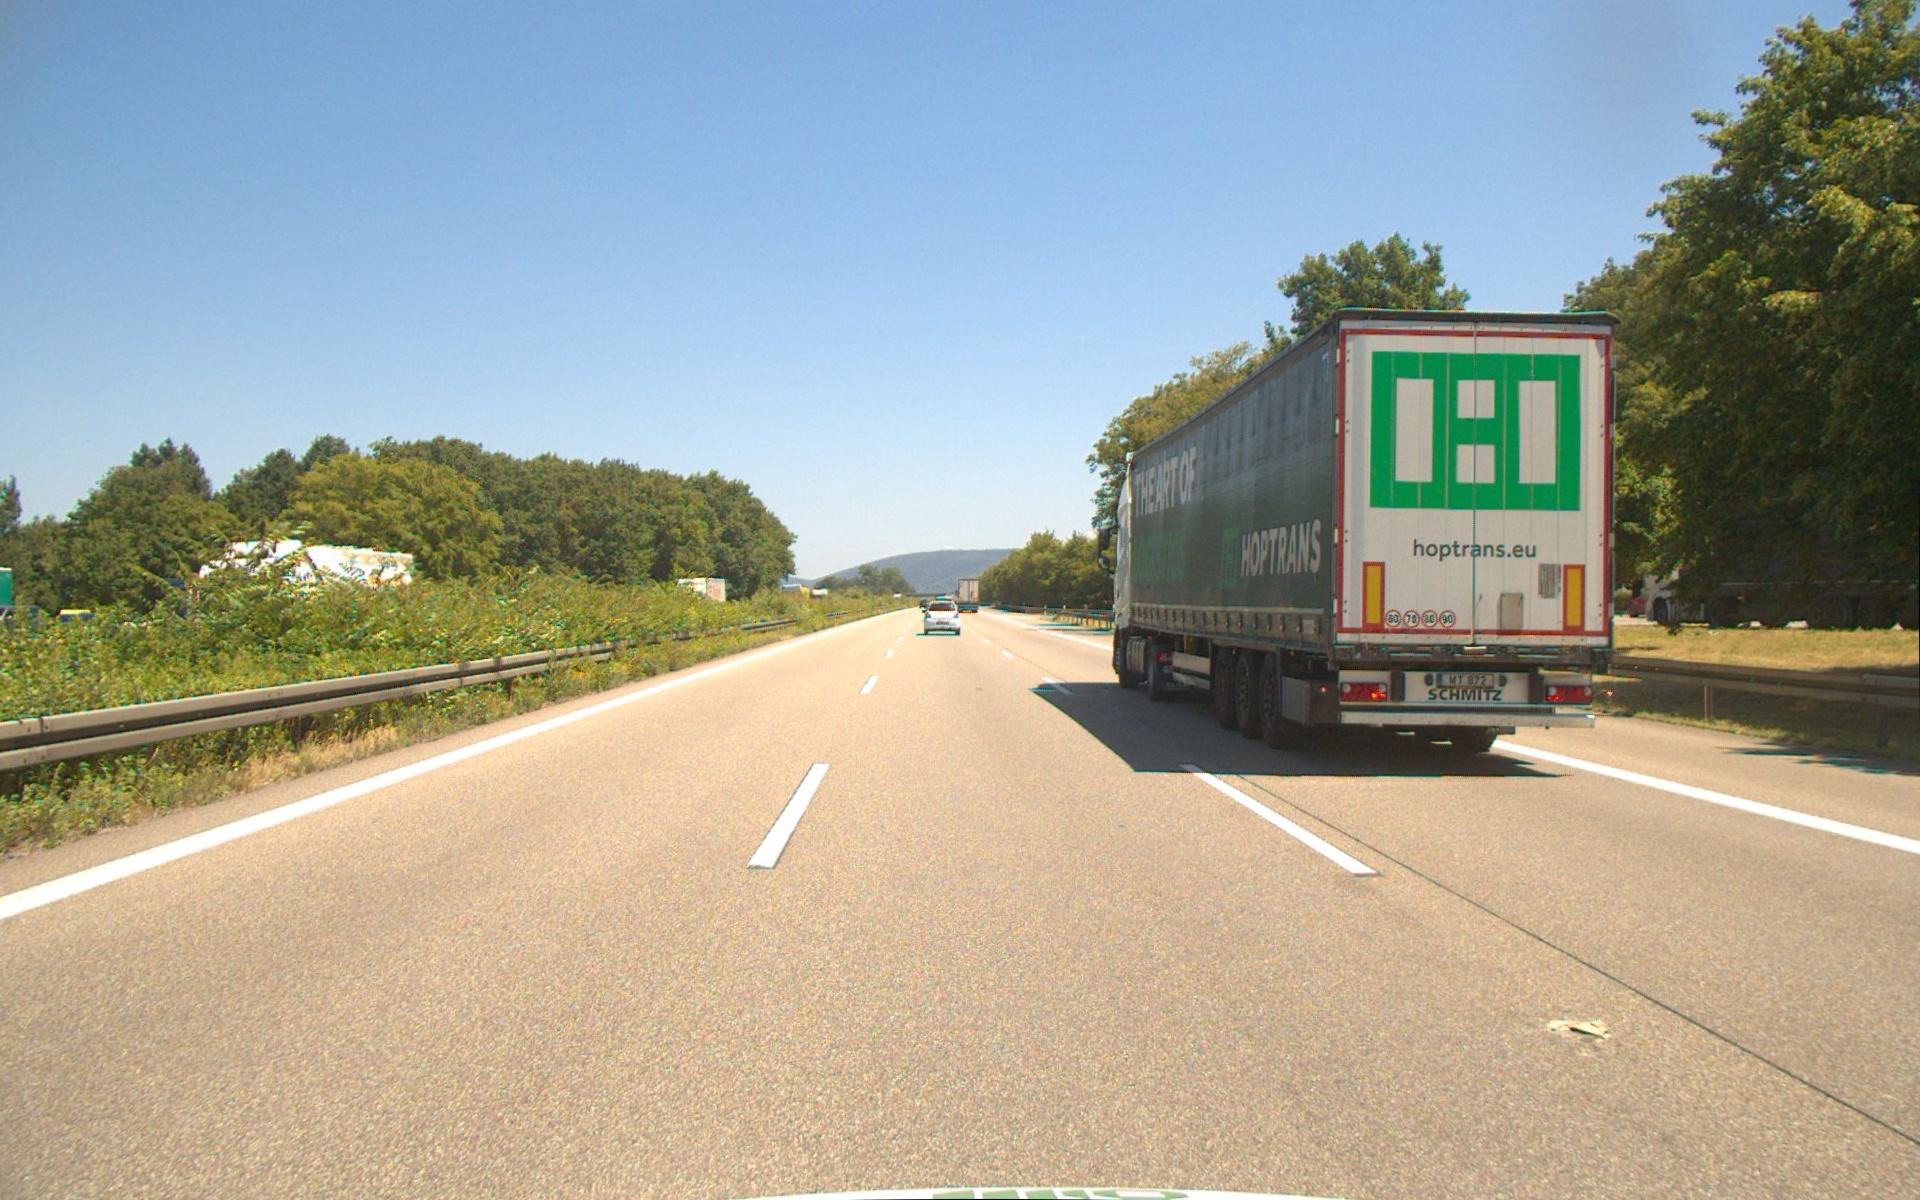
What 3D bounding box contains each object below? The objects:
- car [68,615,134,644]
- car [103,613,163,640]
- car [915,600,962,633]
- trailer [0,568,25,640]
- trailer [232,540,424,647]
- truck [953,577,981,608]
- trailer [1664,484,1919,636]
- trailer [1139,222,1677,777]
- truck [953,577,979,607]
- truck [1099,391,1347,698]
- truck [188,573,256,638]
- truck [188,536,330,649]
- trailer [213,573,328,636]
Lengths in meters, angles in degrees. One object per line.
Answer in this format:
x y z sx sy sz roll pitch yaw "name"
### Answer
-47.066 1.616 90.674 1.523 1.454 3.736 -1 0 3 "car"
-47.864 1.521 95.821 1.441 1.454 3.736 -1 0 3 "car"
-1.008 0.751 75.812 1.777 1.429 3.311 -1 0 -8 "car"
-55.980 0.234 88.024 2.903 4.064 14.919 -1 0 5 "trailer"
-20.474 -0.209 54.401 2.323 3.144 10.646 0 0 -1 "trailer"
0.855 -0.961 209.292 3.257 3.822 12.793 0 0 -1 "truck"
26.584 -1.087 50.810 3.073 4.021 14.187 -1 0 -3 "trailer"
4.486 -0.876 20.163 3.117 4.708 12.048 -1 0 -1 "trailer"
0.781 -0.992 215.099 3.258 3.822 5.399 0 0 -1 "truck"
4.325 -0.871 28.605 3.118 4.688 5.945 -1 0 -2 "truck"
-46.042 0.347 103.264 2.207 3.938 3.804 -1 0 5 "truck"
-20.381 -0.201 48.344 2.299 3.133 4.396 0 0 -1 "truck"
-45.497 0.245 109.584 2.242 3.938 10.713 -1 0 5 "trailer"
